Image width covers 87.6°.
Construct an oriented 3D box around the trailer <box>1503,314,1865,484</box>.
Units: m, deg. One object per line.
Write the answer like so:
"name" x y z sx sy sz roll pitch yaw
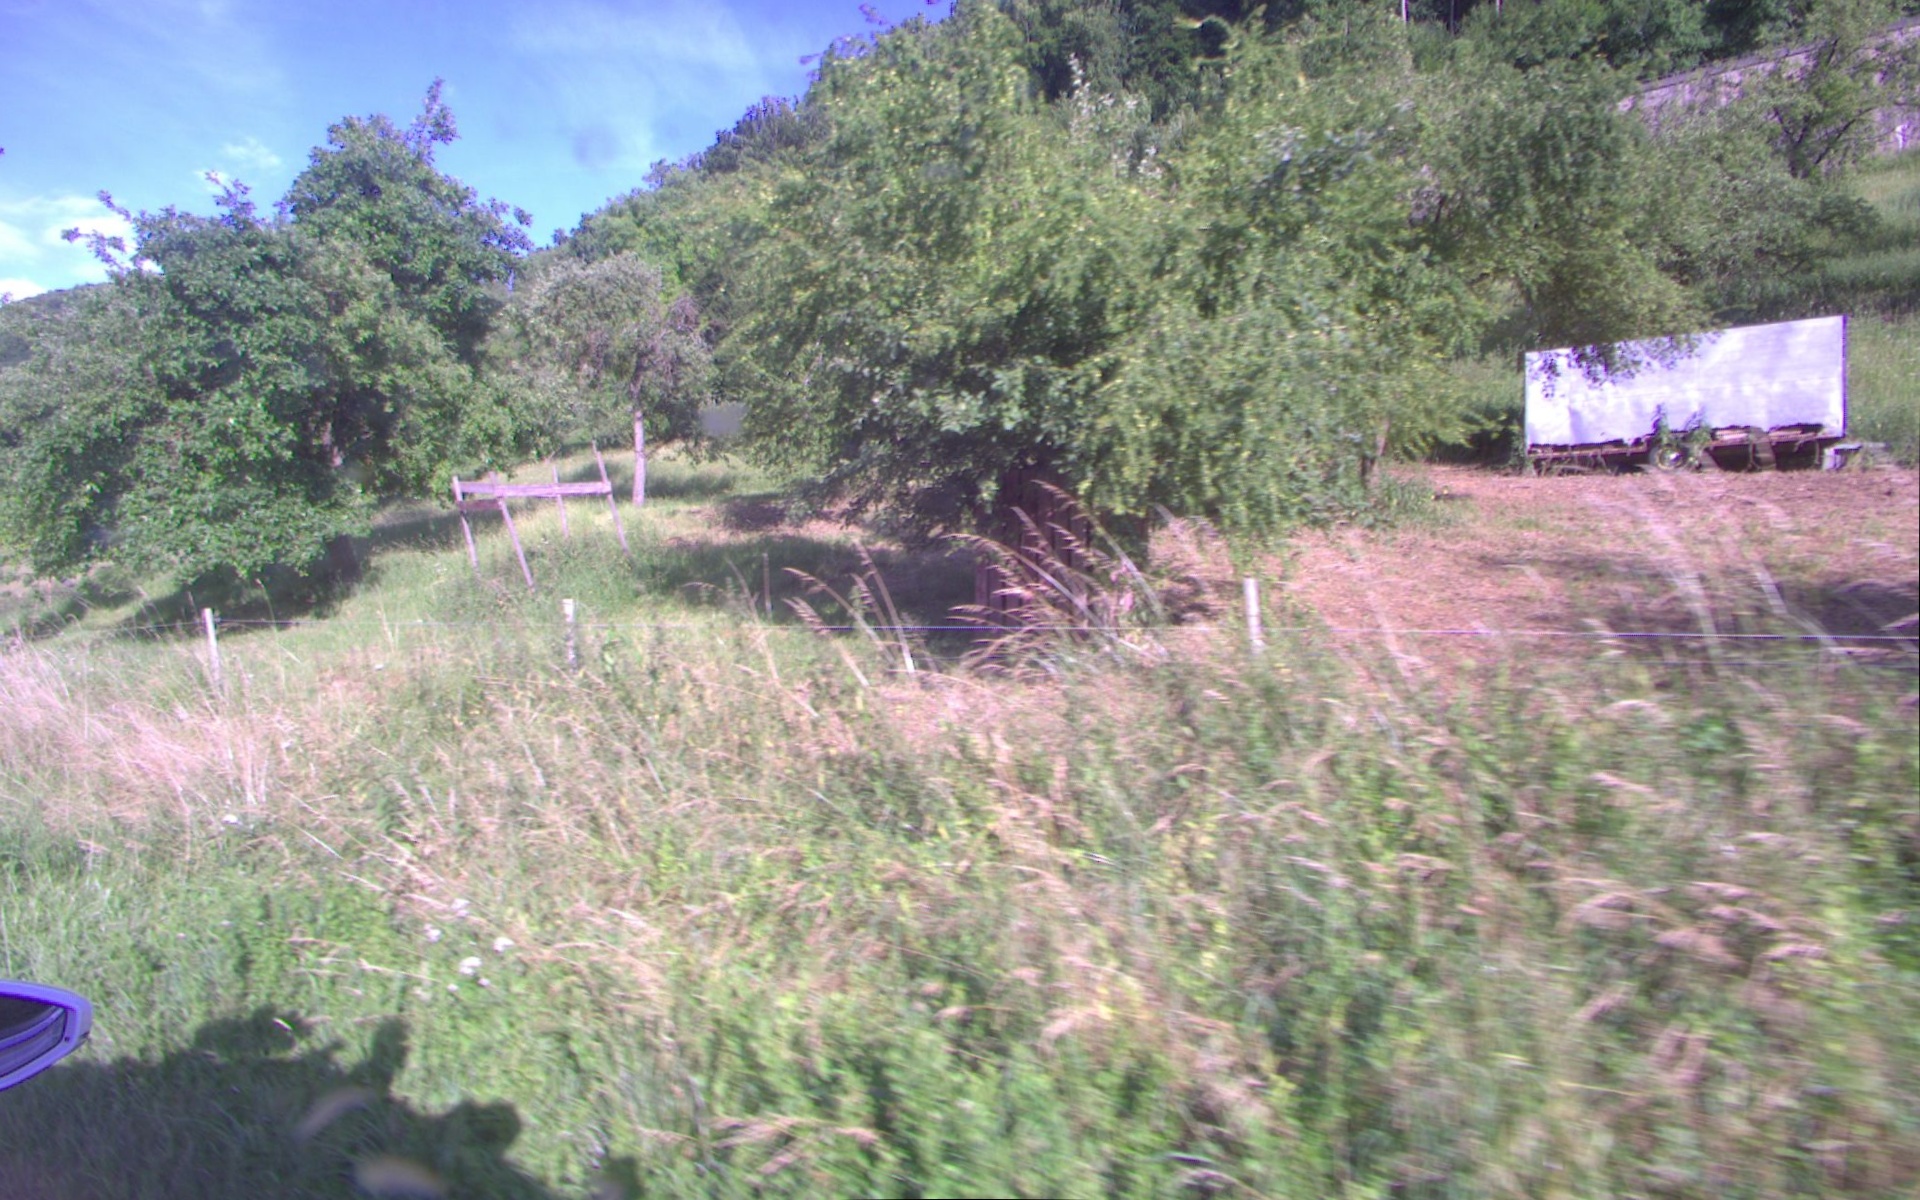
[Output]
"trailer" 13.278 -3.606 18.935 5.164 2.595 2.149 3 4 29
